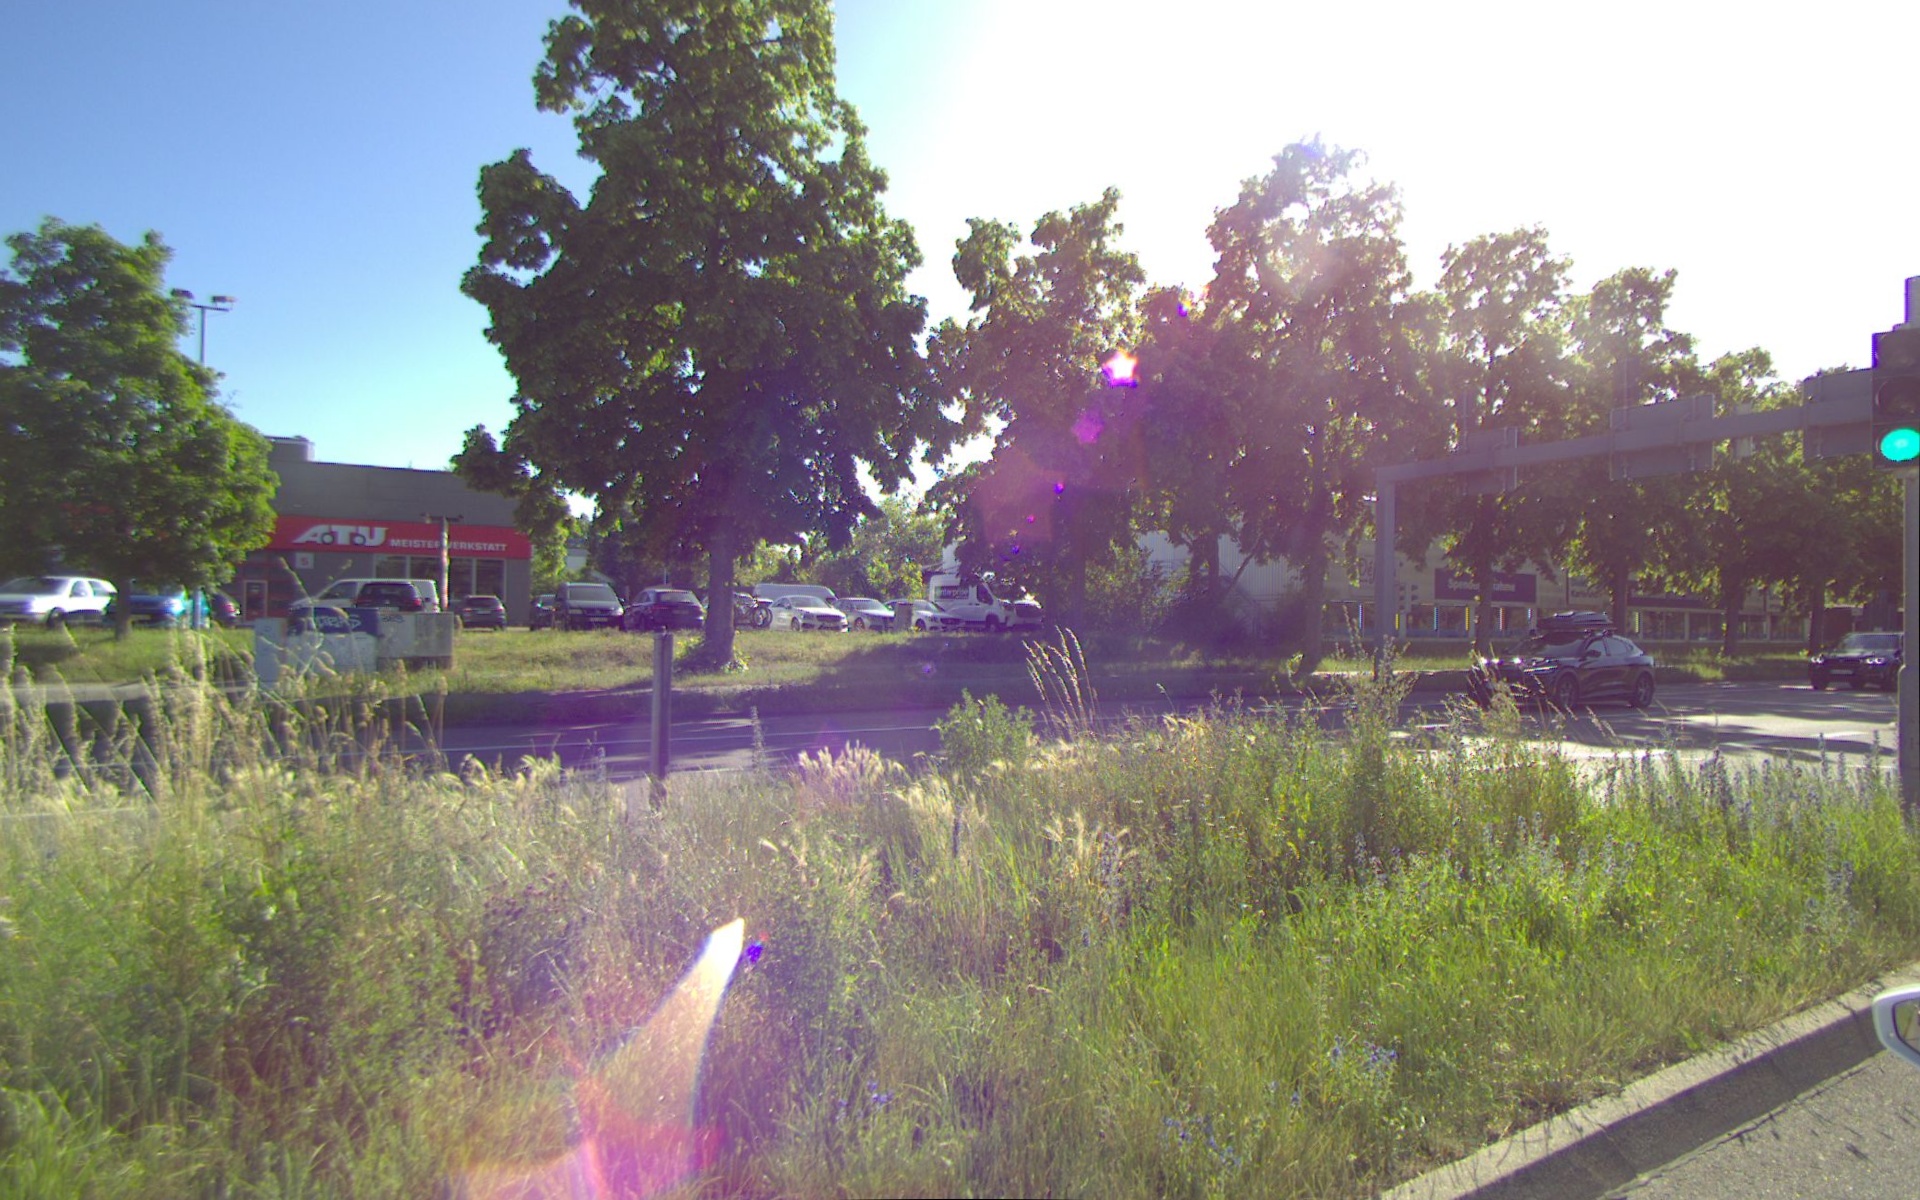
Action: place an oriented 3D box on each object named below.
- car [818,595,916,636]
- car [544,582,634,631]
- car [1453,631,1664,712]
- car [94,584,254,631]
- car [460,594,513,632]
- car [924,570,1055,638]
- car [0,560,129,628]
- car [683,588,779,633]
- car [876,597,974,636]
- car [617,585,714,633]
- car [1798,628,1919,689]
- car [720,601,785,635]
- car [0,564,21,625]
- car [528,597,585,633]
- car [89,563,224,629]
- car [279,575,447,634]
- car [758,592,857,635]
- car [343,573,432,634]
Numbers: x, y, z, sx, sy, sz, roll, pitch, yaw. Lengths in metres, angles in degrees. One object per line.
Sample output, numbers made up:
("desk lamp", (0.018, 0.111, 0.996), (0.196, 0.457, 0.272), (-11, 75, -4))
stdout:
("car", (-3.481, 0.567, 36.867), (1.926, 1.407, 4.094), (1, -1, -33))
("car", (-11.681, 0.232, 31.452), (1.924, 1.407, 4.098), (1, -1, -31))
("car", (12.663, 1.456, 21.203), (4.519, 1.563, 1.867), (2, -3, -30))
("car", (-26.096, 0.272, 33.540), (3.935, 1.474, 1.772), (1, -1, -29))
("car", (-19.842, 0.556, 42.013), (1.871, 1.474, 4.103), (1, -1, -27))
("car", (1.043, 0.195, 39.336), (2.183, 2.465, 5.843), (1, -1, -33))
("car", (-23.052, -0.097, 25.331), (1.866, 1.572, 4.114), (1, -1, -19))
("car", (-7.773, 0.380, 33.744), (1.923, 1.407, 4.599), (1, -1, -29))
("car", (-1.380, 0.652, 38.392), (1.926, 1.407, 4.094), (1, -1, -33))
("car", (-9.500, 0.314, 32.201), (1.926, 1.407, 4.094), (1, -1, -33))
("car", (27.585, 1.735, 30.448), (4.576, 1.719, 1.933), (1, -3, -31))
("car", (-9.533, 0.815, 45.831), (1.871, 1.474, 4.103), (1, -1, -27))
("car", (-25.307, -0.181, 24.486), (1.865, 1.572, 4.116), (1, -1, -17))
("car", (-17.310, 0.652, 43.009), (1.871, 1.474, 4.103), (1, -1, -27))
("car", (-20.942, -0.048, 26.367), (1.794, 1.572, 4.106), (1, -1, -25))
("car", (-21.441, 0.216, 36.364), (5.063, 1.982, 1.773), (1, -1, -27))
("car", (-5.403, 0.487, 35.139), (1.926, 1.407, 4.094), (1, -1, -33))
("car", (-15.948, 0.140, 28.158), (1.922, 1.572, 4.103), (1, -1, -27))
